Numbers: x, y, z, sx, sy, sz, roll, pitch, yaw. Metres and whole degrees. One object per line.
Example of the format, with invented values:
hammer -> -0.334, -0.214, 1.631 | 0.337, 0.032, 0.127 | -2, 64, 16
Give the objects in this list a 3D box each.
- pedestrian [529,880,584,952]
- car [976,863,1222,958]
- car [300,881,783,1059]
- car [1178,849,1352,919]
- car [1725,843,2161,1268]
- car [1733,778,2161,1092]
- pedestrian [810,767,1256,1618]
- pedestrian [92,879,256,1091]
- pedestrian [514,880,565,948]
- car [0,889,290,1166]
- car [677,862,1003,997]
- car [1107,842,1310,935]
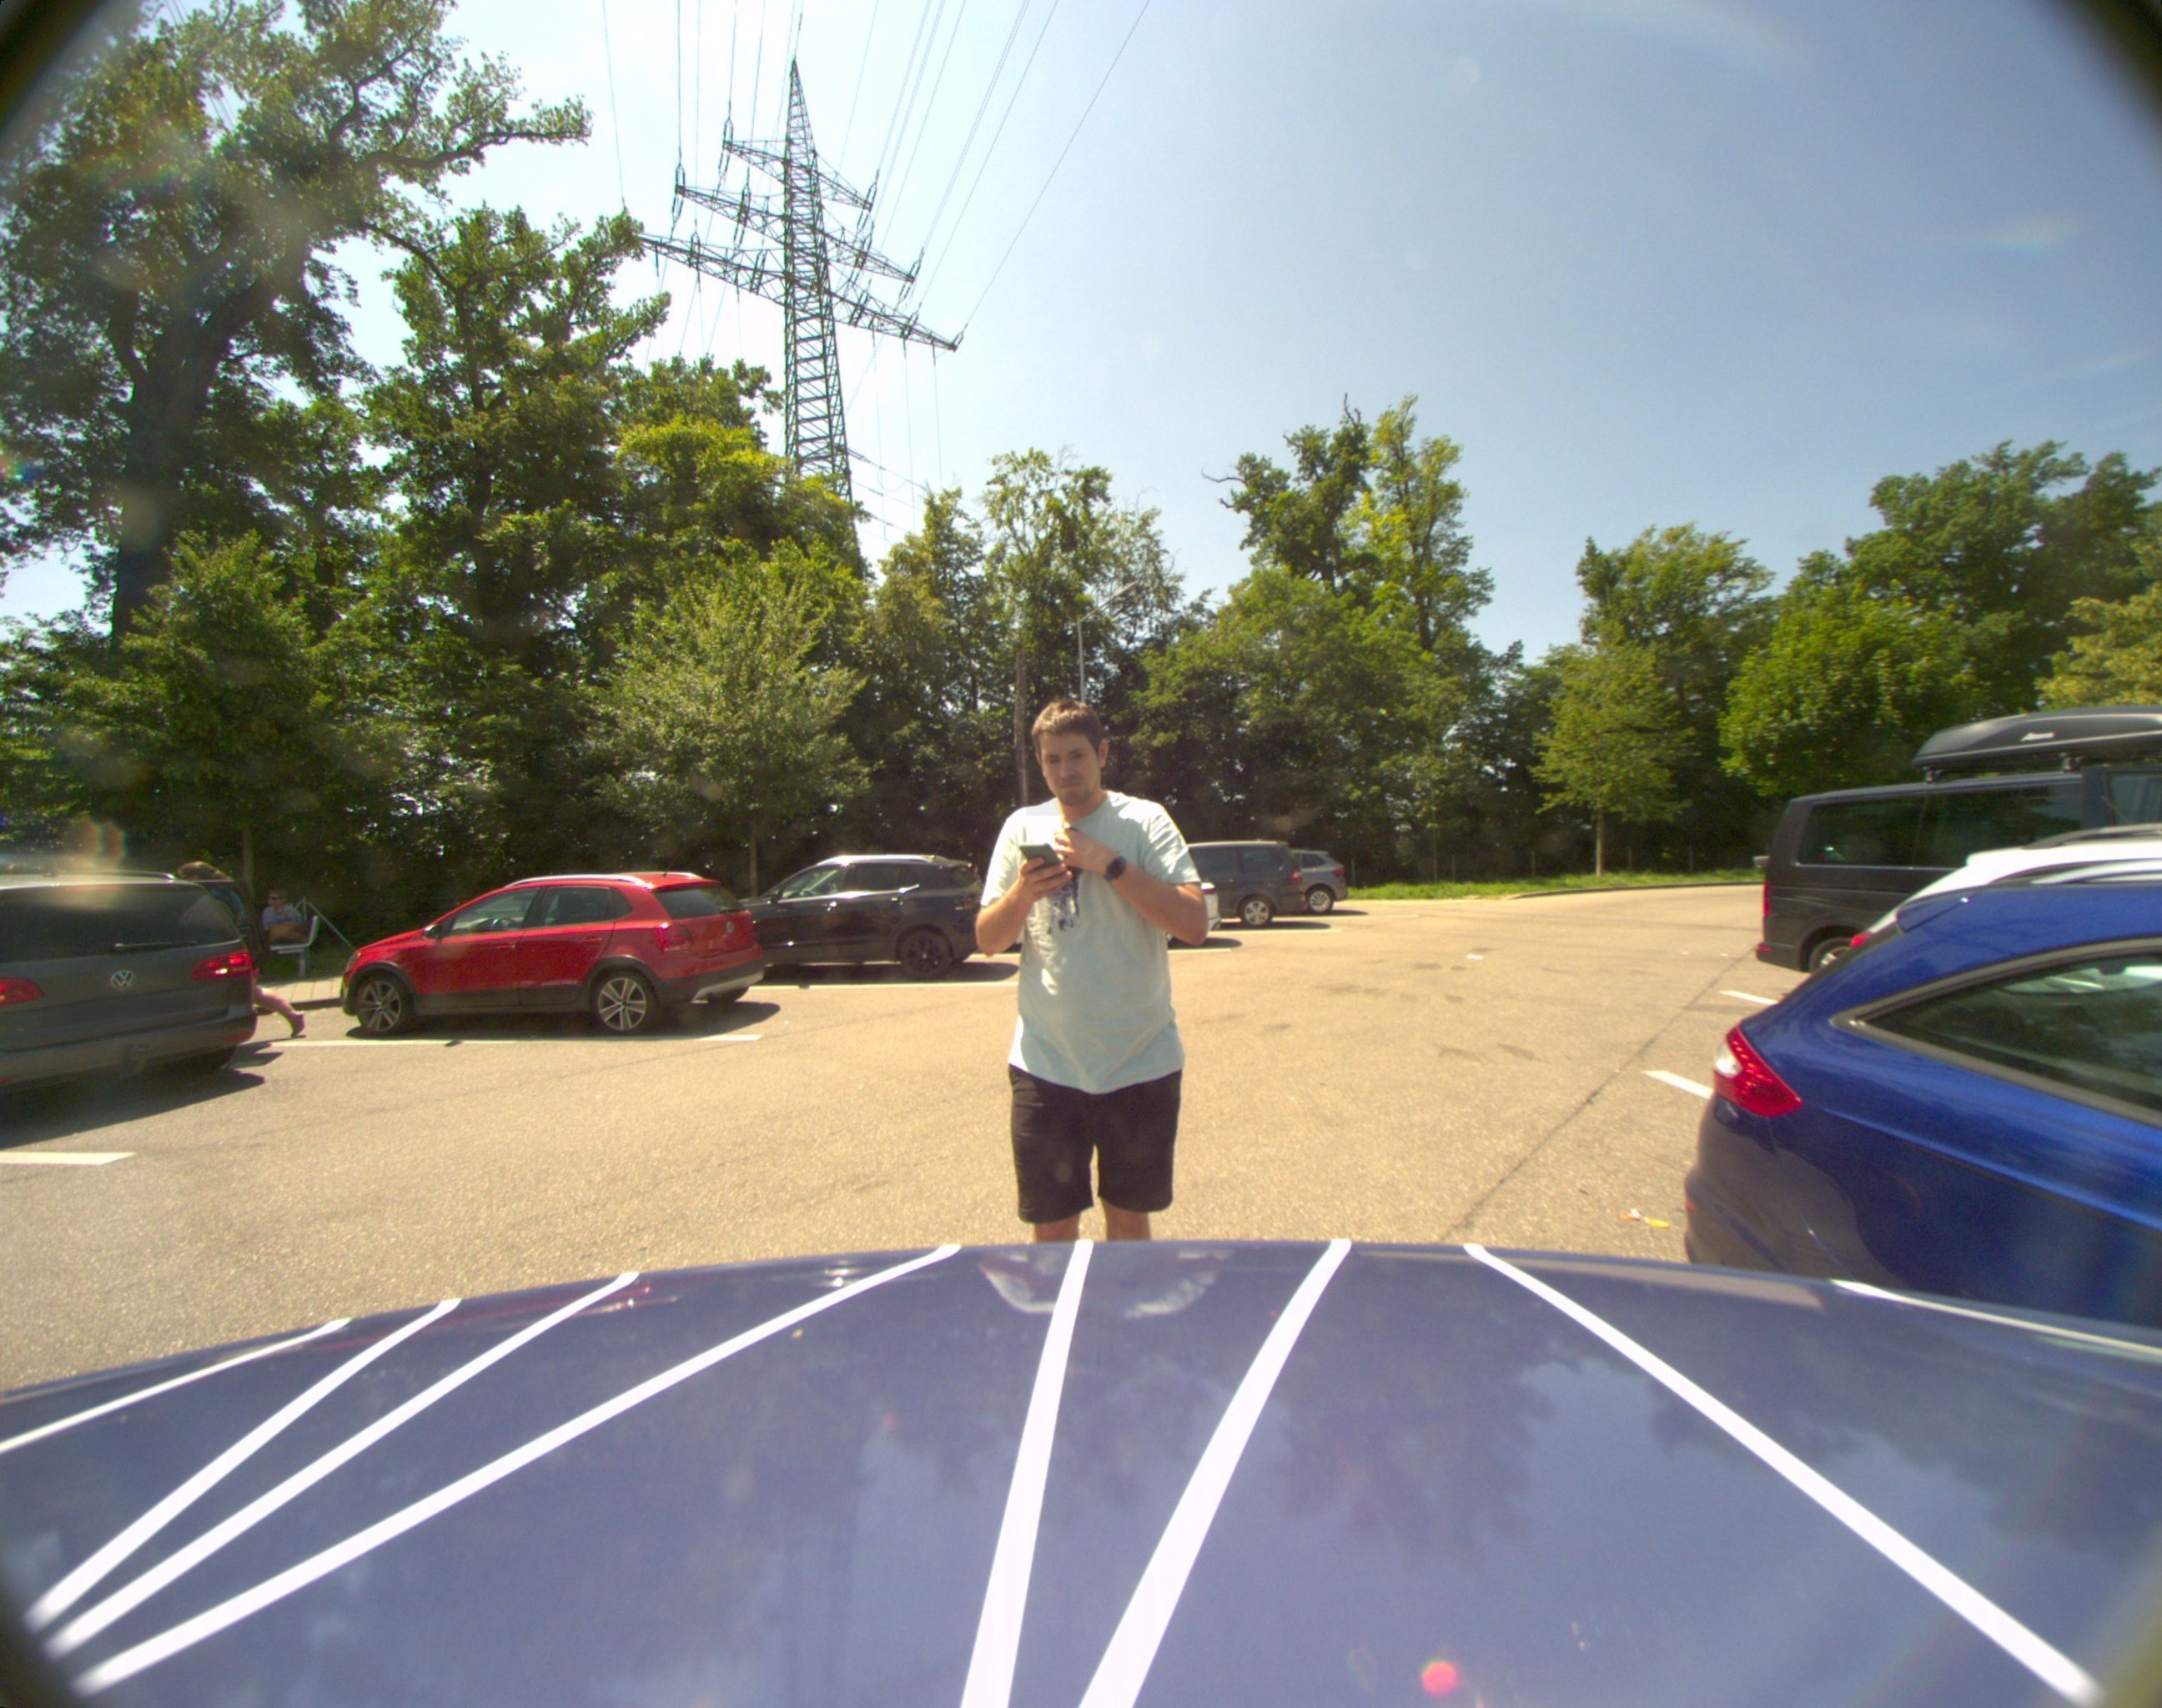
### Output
pedestrian -> -10.012, 1.157, 14.507 | 0.782, 1.287, 0.670 | -1, 1, 45
car -> 0.352, 0.910, 12.733 | 3.819, 1.377, 1.722 | -1, 1, 6
car -> -5.251, 1.077, 7.657 | 3.785, 1.457, 1.722 | -1, 1, 9
car -> 4.327, 0.702, 18.162 | 3.818, 1.530, 1.722 | -1, 1, 12
car -> 4.861, 0.726, 2.291 | 1.741, 1.524, 4.642 | -3, -1, -2
car -> 7.309, 0.438, 4.920 | 1.961, 1.858, 4.642 | -3, -1, -3
pedestrian -> -0.092, 0.743, 1.949 | 0.890, 1.831, 0.622 | -2, 1, 1
pedestrian -> -7.950, 1.077, 6.716 | 0.735, 1.672, 0.917 | -3, 1, -41
pedestrian -> -10.922, 1.184, 15.323 | 0.782, 1.287, 0.670 | -1, 1, 45
car -> -8.303, 1.118, 5.447 | 3.985, 1.572, 1.749 | -1, 1, 12
car -> -3.079, 0.948, 10.267 | 3.787, 1.564, 1.721 | -2, 1, 2
car -> 2.575, 0.679, 15.459 | 3.818, 1.714, 1.722 | -1, 1, 12
